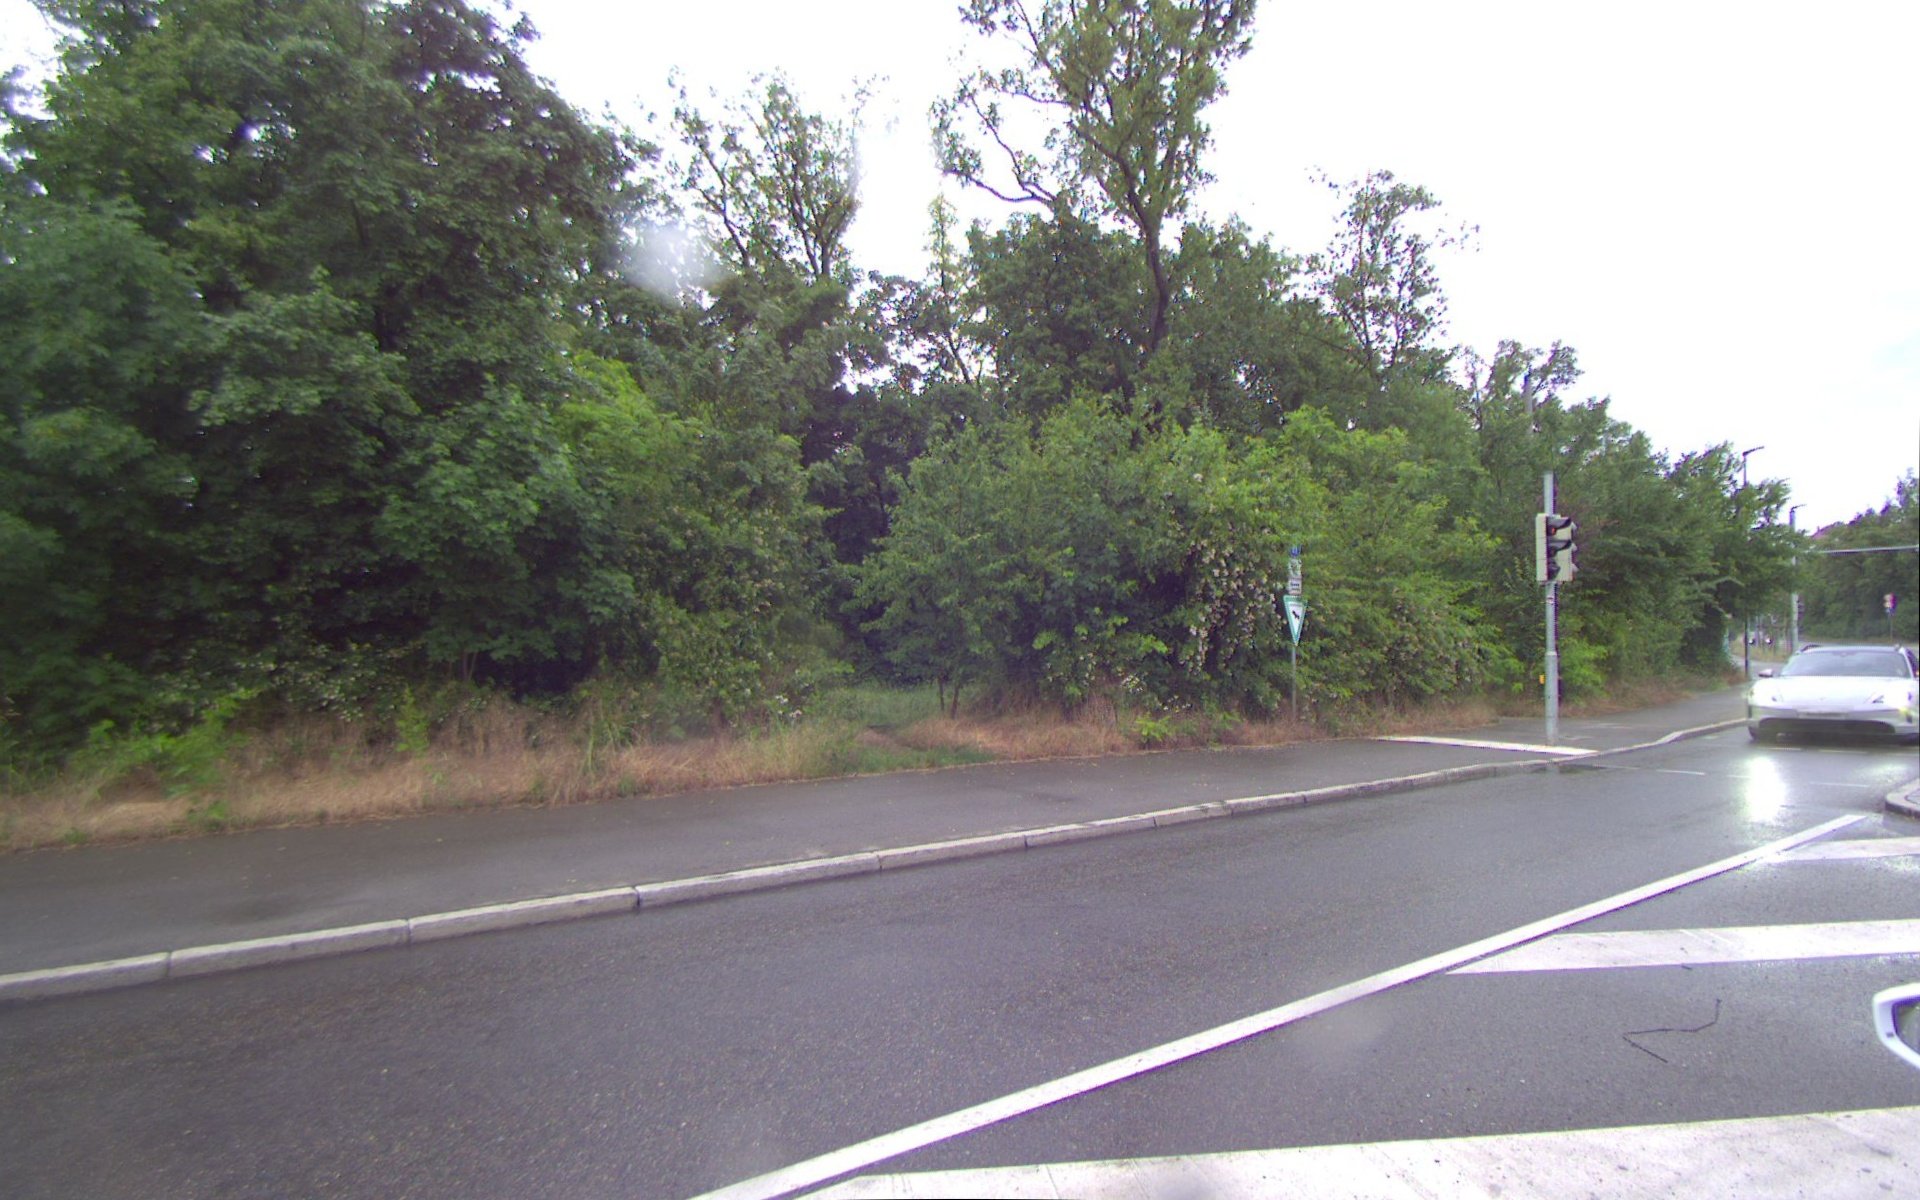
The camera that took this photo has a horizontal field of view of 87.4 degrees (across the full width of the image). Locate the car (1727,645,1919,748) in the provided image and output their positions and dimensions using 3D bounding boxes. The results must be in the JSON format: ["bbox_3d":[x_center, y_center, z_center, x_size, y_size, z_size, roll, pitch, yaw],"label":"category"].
[{"bbox_3d":[13.659,1.398,15.505,4.324,1.328,1.977,1,-4,-40],"label":"car"}]

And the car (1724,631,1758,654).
[{"bbox_3d":[74.221,4.009,95.493,1.964,2.040,3.993,1,-1,30],"label":"car"}]
